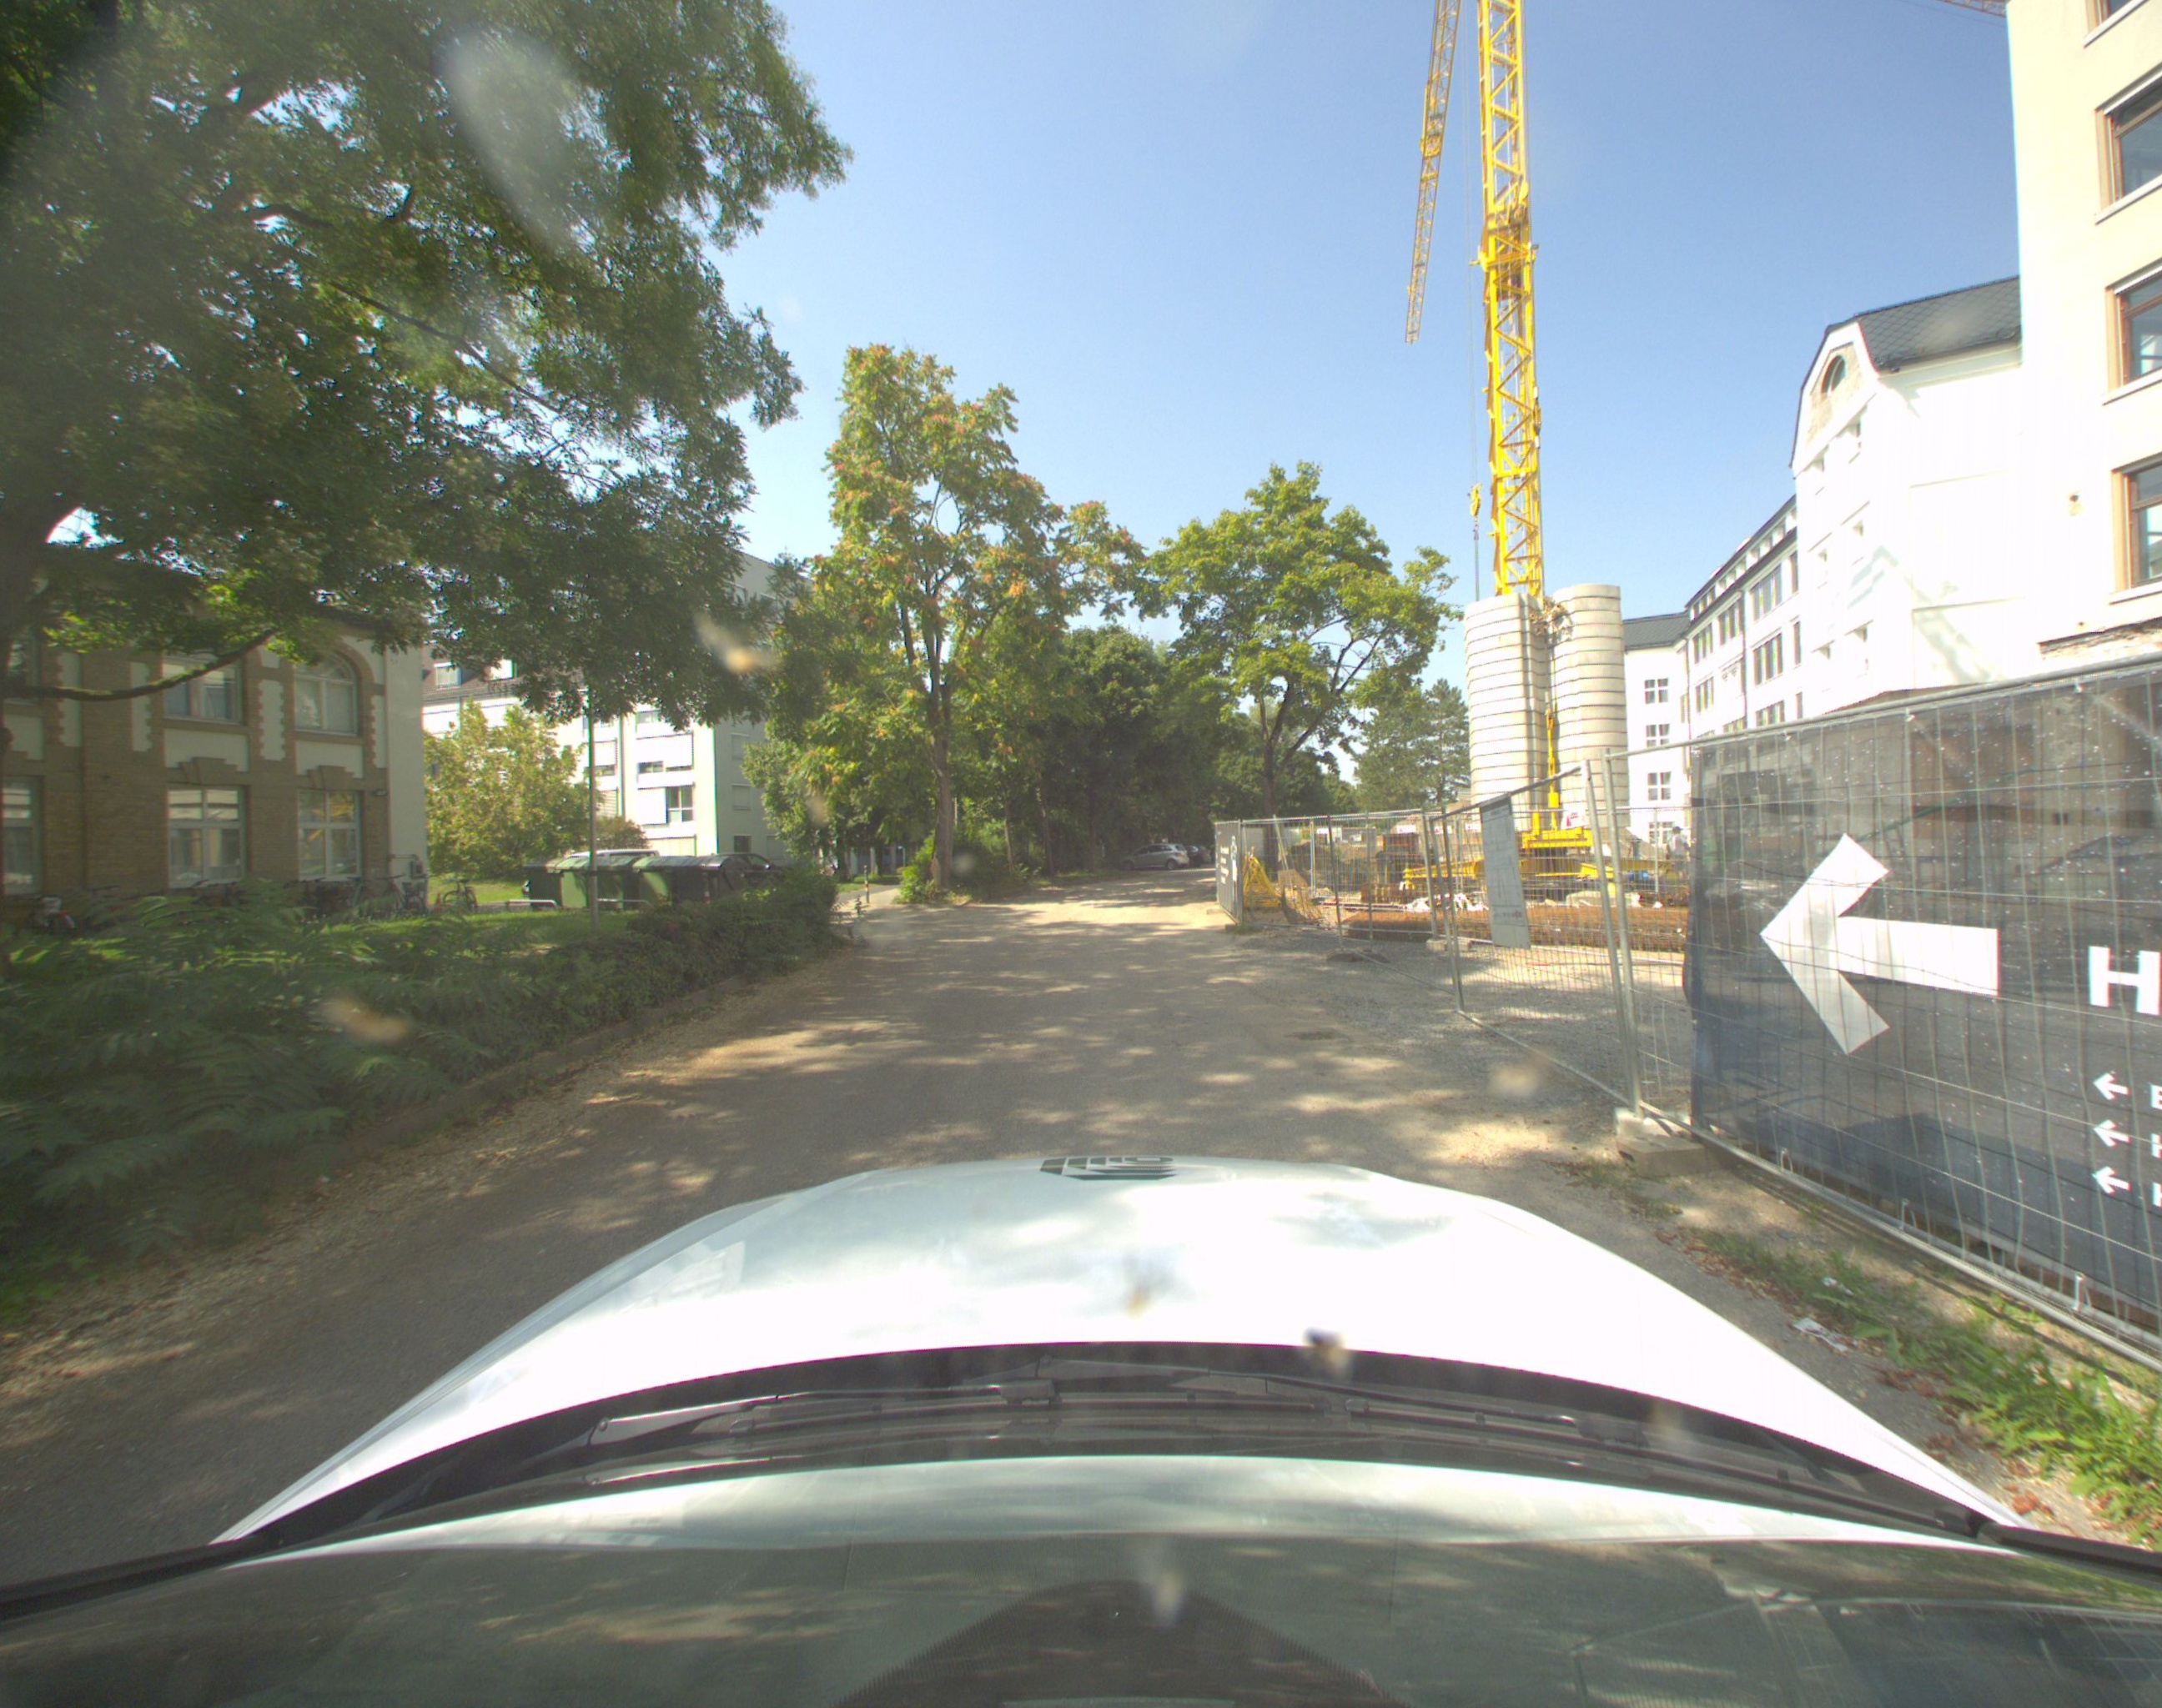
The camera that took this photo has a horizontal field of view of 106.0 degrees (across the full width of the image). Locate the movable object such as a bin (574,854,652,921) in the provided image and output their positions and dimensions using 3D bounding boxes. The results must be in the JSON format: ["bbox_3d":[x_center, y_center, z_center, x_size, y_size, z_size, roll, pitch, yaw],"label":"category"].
[{"bbox_3d":[-10.865,0.763,18.952,1.089,1.481,1.106,-1,0,18],"label":"movable object such as a bin"}]

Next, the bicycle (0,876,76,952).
[{"bbox_3d":[-19.402,1.094,15.037,2.146,1.302,0.613,-2,0,27],"label":"bicycle"}]

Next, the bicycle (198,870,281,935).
[{"bbox_3d":[-18.040,1.030,17.447,2.146,1.302,0.613,-2,0,27],"label":"bicycle"}]

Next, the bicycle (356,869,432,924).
[{"bbox_3d":[-16.942,1.052,20.067,2.146,1.302,0.613,-2,0,27],"label":"bicycle"}]

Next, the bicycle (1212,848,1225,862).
[{"bbox_3d":[11.245,0.088,66.490,0.494,1.107,1.811,-1,1,29],"label":"bicycle"}]

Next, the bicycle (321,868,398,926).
[{"bbox_3d":[-17.234,1.023,19.438,2.146,1.302,0.613,-2,0,27],"label":"bicycle"}]

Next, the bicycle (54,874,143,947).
[{"bbox_3d":[-18.903,1.077,15.656,2.146,1.302,0.613,-2,0,27],"label":"bicycle"}]

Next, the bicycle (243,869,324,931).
[{"bbox_3d":[-17.837,1.029,18.200,2.146,1.302,0.613,-2,0,27],"label":"bicycle"}]

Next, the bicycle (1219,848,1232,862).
[{"bbox_3d":[11.741,0.069,66.286,0.494,1.107,1.811,-1,1,29],"label":"bicycle"}]

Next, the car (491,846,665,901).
[{"bbox_3d":[-19.189,0.688,31.366,2.471,1.881,5.115,-1,0,26],"label":"car"}]

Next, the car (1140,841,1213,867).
[{"bbox_3d":[6.039,-0.002,51.528,4.110,1.612,2.012,-1,1,25],"label":"car"}]

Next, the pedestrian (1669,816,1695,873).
[{"bbox_3d":[16.543,-0.263,22.414,0.517,1.528,0.498,-1,0,32],"label":"pedestrian"}]

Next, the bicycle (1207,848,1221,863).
[{"bbox_3d":[10.554,0.110,64.470,0.494,1.107,1.811,-1,1,29],"label":"bicycle"}]

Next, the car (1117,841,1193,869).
[{"bbox_3d":[4.483,0.054,49.335,4.110,1.612,2.012,-1,1,25],"label":"car"}]

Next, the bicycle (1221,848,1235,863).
[{"bbox_3d":[11.586,0.105,64.251,0.494,1.107,1.811,-1,1,29],"label":"bicycle"}]

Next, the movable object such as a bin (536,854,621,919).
[{"bbox_3d":[-12.102,0.761,19.640,1.193,1.495,1.255,-1,0,18],"label":"movable object such as a bin"}]

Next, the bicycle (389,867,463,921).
[{"bbox_3d":[-16.642,1.017,20.686,2.146,1.302,0.613,-2,0,27],"label":"bicycle"}]

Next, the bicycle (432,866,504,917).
[{"bbox_3d":[-16.304,1.006,21.634,2.146,1.302,0.613,-2,0,27],"label":"bicycle"}]

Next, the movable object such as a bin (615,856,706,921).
[{"bbox_3d":[-9.647,0.769,18.731,1.317,1.431,1.255,-1,0,17],"label":"movable object such as a bin"}]

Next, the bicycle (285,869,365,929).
[{"bbox_3d":[-17.442,1.029,18.773,2.146,1.302,0.613,-2,0,27],"label":"bicycle"}]

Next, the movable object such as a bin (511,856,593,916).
[{"bbox_3d":[-13.464,0.788,20.768,1.193,1.444,1.255,-1,0,18],"label":"movable object such as a bin"}]

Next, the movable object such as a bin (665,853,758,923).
[{"bbox_3d":[-8.192,0.725,18.125,1.360,1.493,1.339,-1,0,9],"label":"movable object such as a bin"}]

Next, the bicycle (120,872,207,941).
[{"bbox_3d":[-18.559,1.057,16.461,2.146,1.302,0.613,-2,0,27],"label":"bicycle"}]

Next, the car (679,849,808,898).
[{"bbox_3d":[-11.699,0.641,28.476,1.685,1.528,3.937,-1,0,30],"label":"car"}]
